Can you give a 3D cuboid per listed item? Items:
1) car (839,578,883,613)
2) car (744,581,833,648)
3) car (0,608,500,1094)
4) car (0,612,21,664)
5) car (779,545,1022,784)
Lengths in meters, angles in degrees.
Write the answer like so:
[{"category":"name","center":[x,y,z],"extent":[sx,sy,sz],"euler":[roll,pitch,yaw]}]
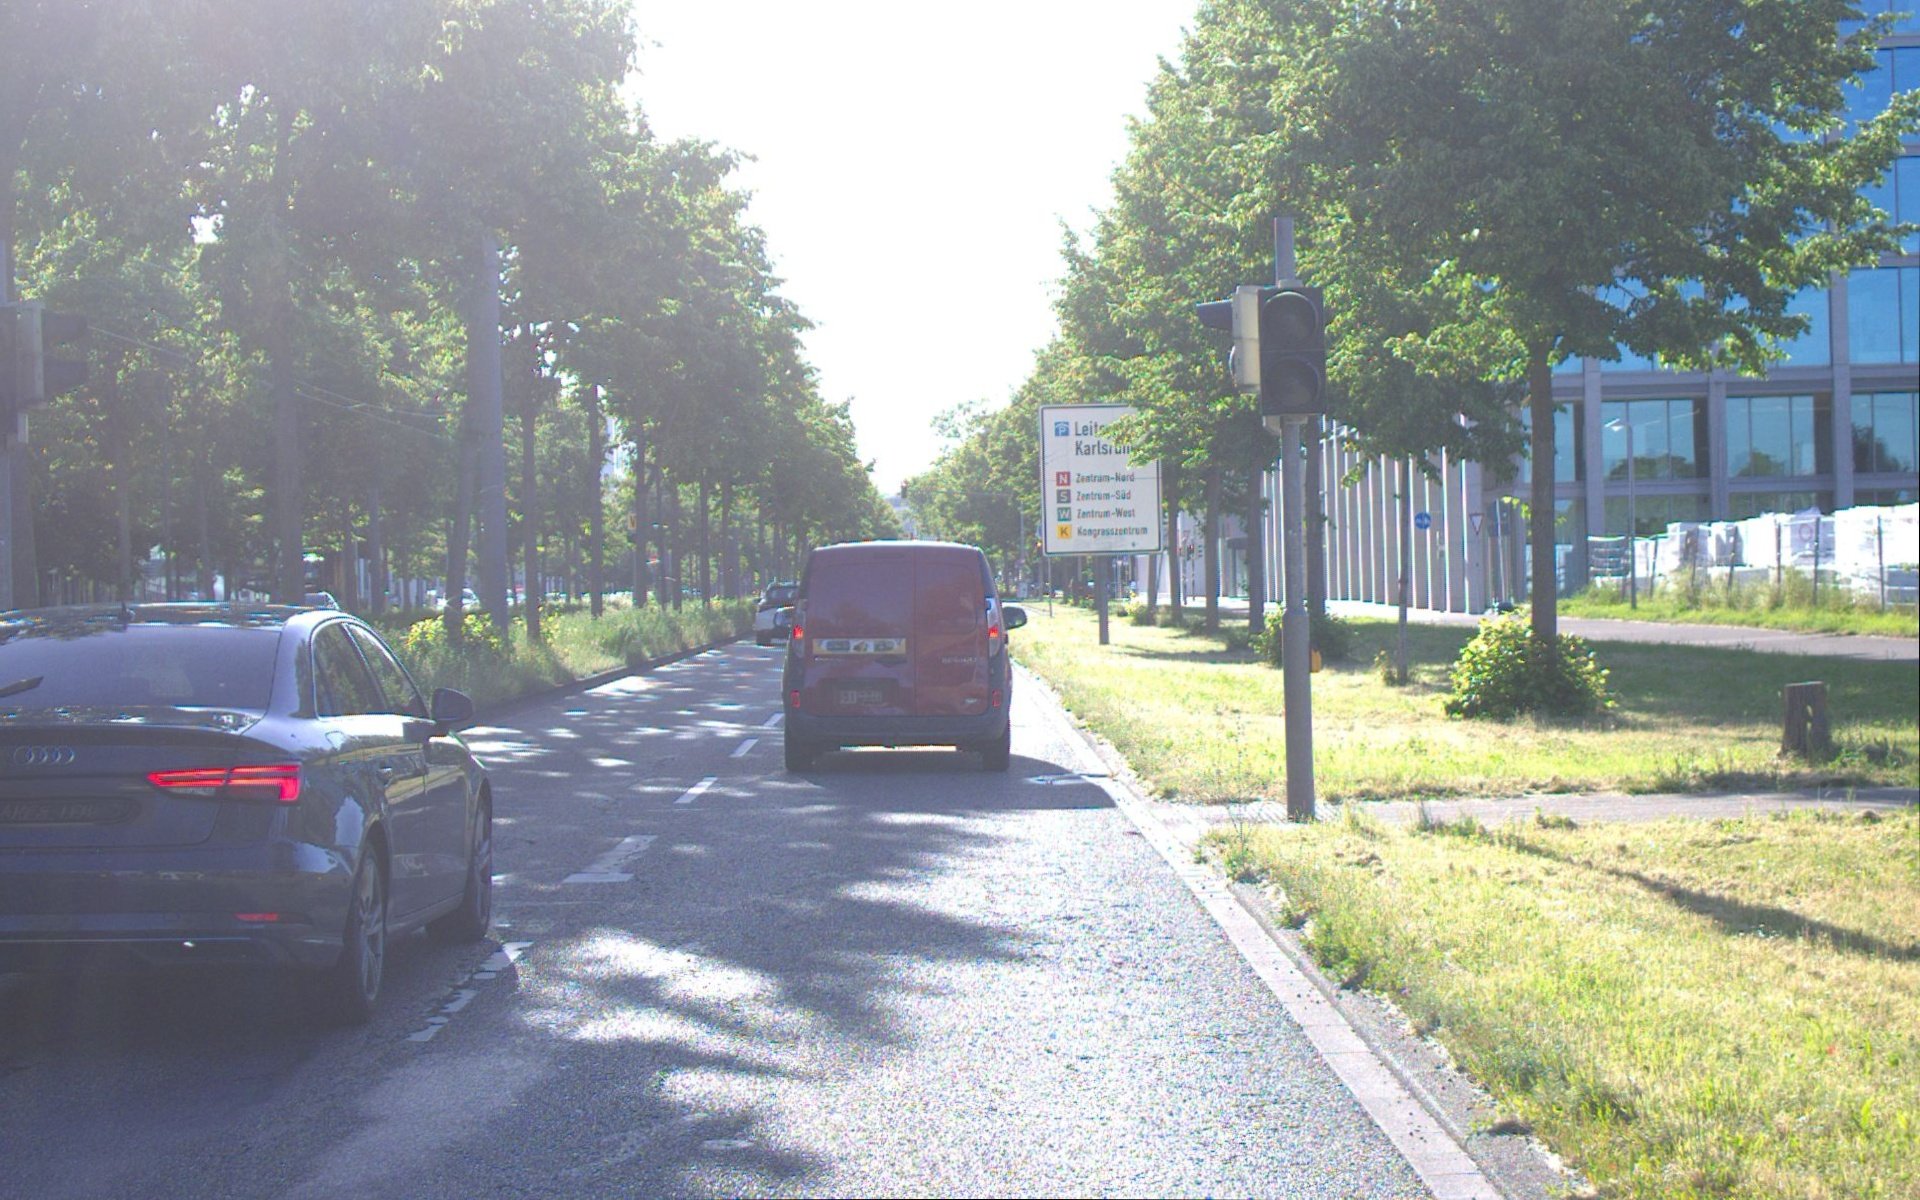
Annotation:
[{"category":"car","center":[-4.587,-0.218,159.526],"extent":[1.843,1.529,3.940],"euler":[-2,0,1]},{"category":"car","center":[-3.892,0.304,78.562],"extent":[1.942,1.436,4.000],"euler":[-2,0,-2]},{"category":"car","center":[-2.779,0.757,12.354],"extent":[1.721,1.361,4.146],"euler":[0,1,0]},{"category":"car","center":[-23.832,0.943,82.110],"extent":[1.769,1.234,3.484],"euler":[-2,0,1]},{"category":"car","center":[-0.510,0.476,27.888],"extent":[1.797,1.771,4.000],"euler":[-1,0,-2]}]
